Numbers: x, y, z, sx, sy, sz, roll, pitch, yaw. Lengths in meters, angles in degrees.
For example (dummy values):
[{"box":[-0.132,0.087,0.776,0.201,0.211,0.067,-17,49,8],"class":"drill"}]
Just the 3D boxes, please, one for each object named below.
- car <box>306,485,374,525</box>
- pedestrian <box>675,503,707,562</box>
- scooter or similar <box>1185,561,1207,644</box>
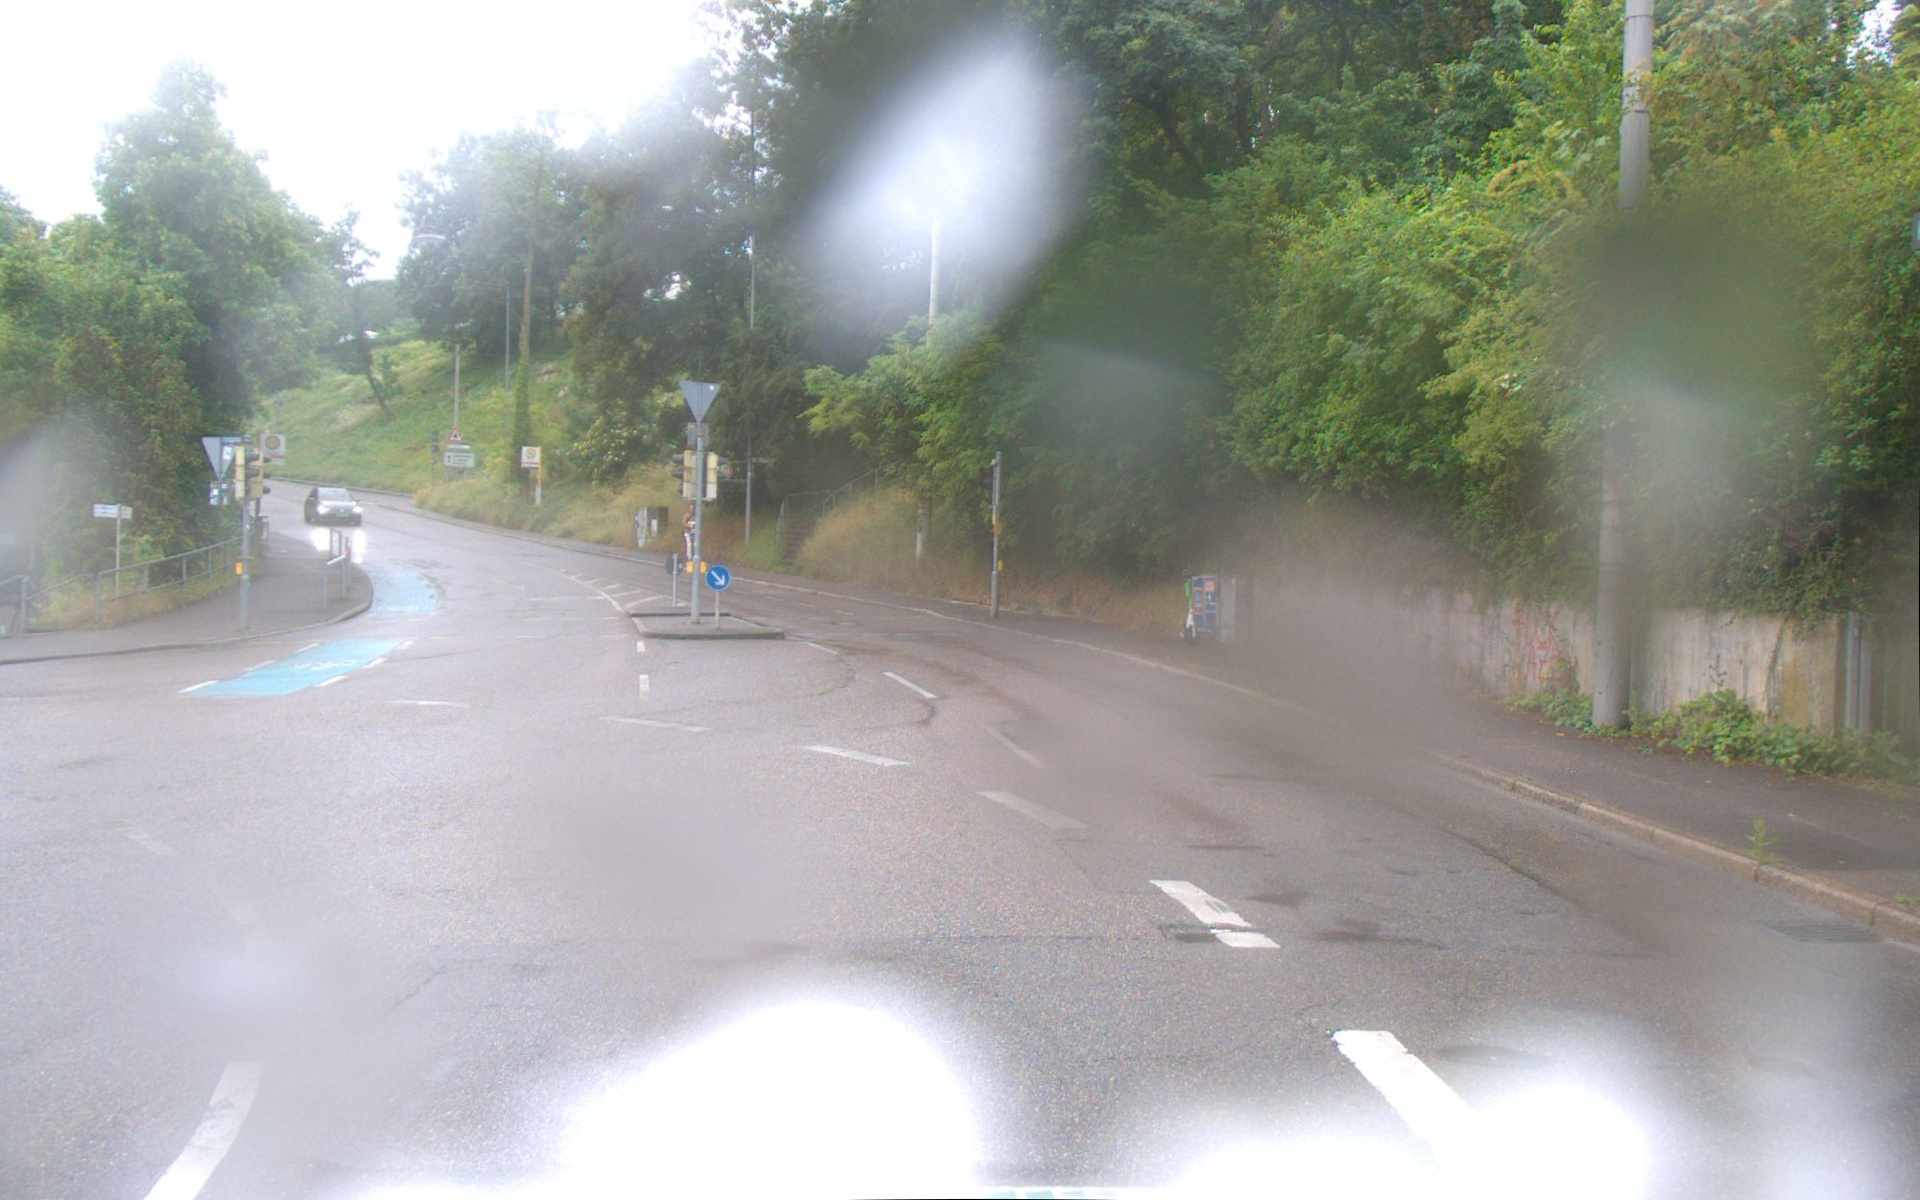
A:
[{"box":[-25.769,-3.972,68.684,1.936,1.538,4.360,0,3,-31],"class":"car"},{"box":[-8.381,-2.099,51.488,0.867,1.767,0.861,1,-1,-18],"class":"pedestrian"},{"box":[3.784,0.032,26.542,0.315,1.302,0.752,0,3,7],"class":"scooter or similar"}]
